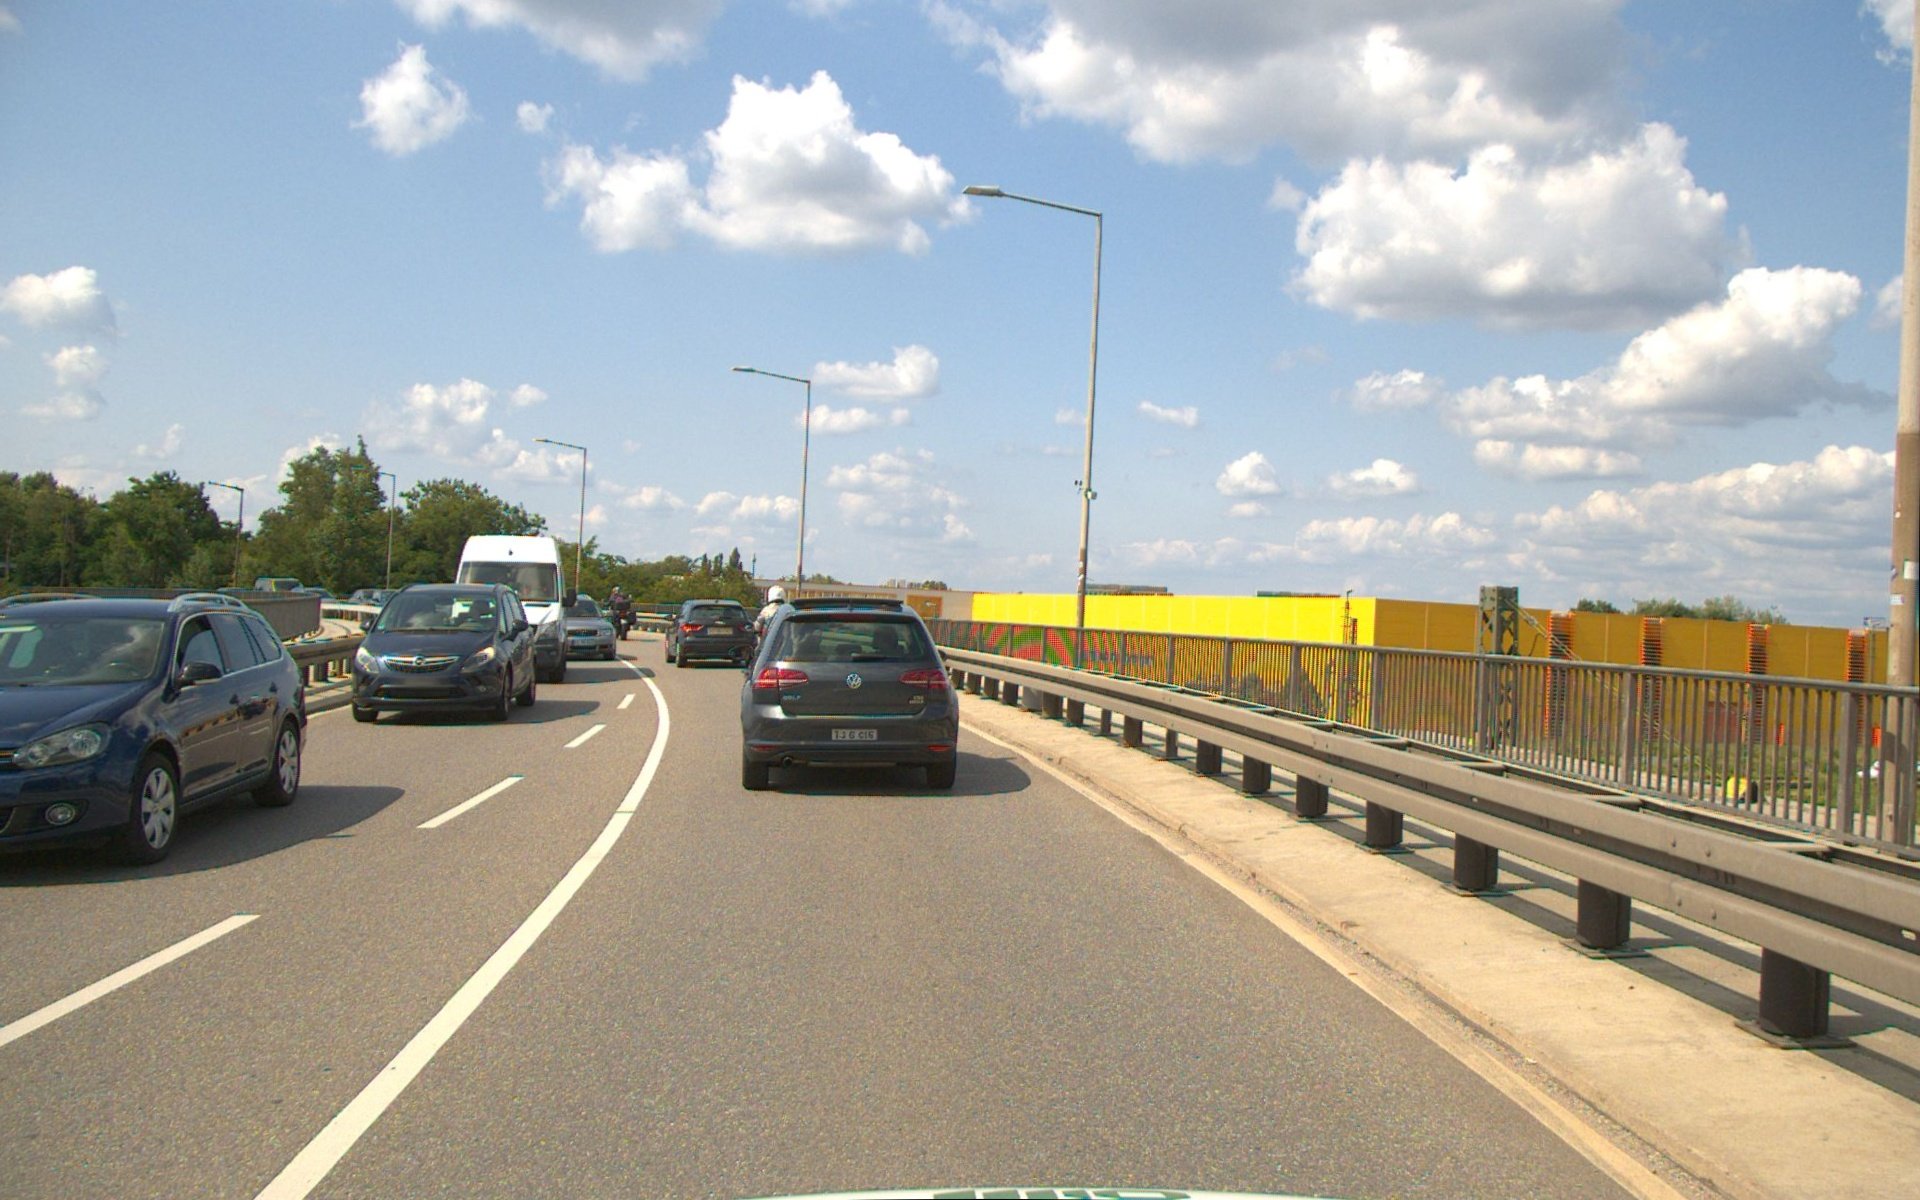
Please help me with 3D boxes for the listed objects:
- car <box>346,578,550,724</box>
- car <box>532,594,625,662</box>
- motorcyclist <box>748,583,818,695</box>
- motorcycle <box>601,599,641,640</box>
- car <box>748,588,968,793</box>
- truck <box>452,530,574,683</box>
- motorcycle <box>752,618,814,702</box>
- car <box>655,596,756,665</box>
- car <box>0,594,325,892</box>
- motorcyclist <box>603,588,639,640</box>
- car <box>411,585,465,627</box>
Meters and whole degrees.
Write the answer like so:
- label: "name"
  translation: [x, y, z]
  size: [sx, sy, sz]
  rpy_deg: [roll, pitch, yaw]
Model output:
- label: "car"
  translation: [-6.423, 0.590, 21.211]
  size: [1.684, 1.660, 4.422]
  rpy_deg: [0, 0, -6]
- label: "car"
  translation: [-9.045, 0.627, 39.024]
  size: [1.739, 1.485, 4.275]
  rpy_deg: [0, 0, -19]
- label: "motorcyclist"
  translation: [-2.701, 0.578, 25.130]
  size: [0.948, 1.648, 1.122]
  rpy_deg: [2, 0, -10]
- label: "motorcycle"
  translation: [-10.855, 0.615, 52.922]
  size: [0.875, 1.269, 2.384]
  rpy_deg: [1, 0, -21]
- label: "car"
  translation: [-0.895, 0.693, 14.282]
  size: [1.610, 1.505, 3.869]
  rpy_deg: [1, 0, -4]
- label: "truck"
  translation: [-8.220, 0.093, 30.608]
  size: [1.960, 2.551, 5.925]
  rpy_deg: [0, 0, -14]
- label: "motorcycle"
  translation: [-2.693, 0.882, 24.959]
  size: [0.774, 1.152, 2.394]
  rpy_deg: [1, 0, -9]
- label: "car"
  translation: [-5.589, 0.671, 36.031]
  size: [1.655, 1.412, 3.721]
  rpy_deg: [1, -1, -17]
- label: "car"
  translation: [-5.335, 0.702, 10.296]
  size: [1.628, 1.479, 4.319]
  rpy_deg: [0, 0, -8]
- label: "motorcyclist"
  translation: [-10.860, 0.440, 52.968]
  size: [0.952, 1.624, 1.118]
  rpy_deg: [2, 0, -21]
- label: "car"
  translation: [-20.611, 0.207, 65.245]
  size: [1.661, 1.624, 4.252]
  rpy_deg: [0, 1, -23]
